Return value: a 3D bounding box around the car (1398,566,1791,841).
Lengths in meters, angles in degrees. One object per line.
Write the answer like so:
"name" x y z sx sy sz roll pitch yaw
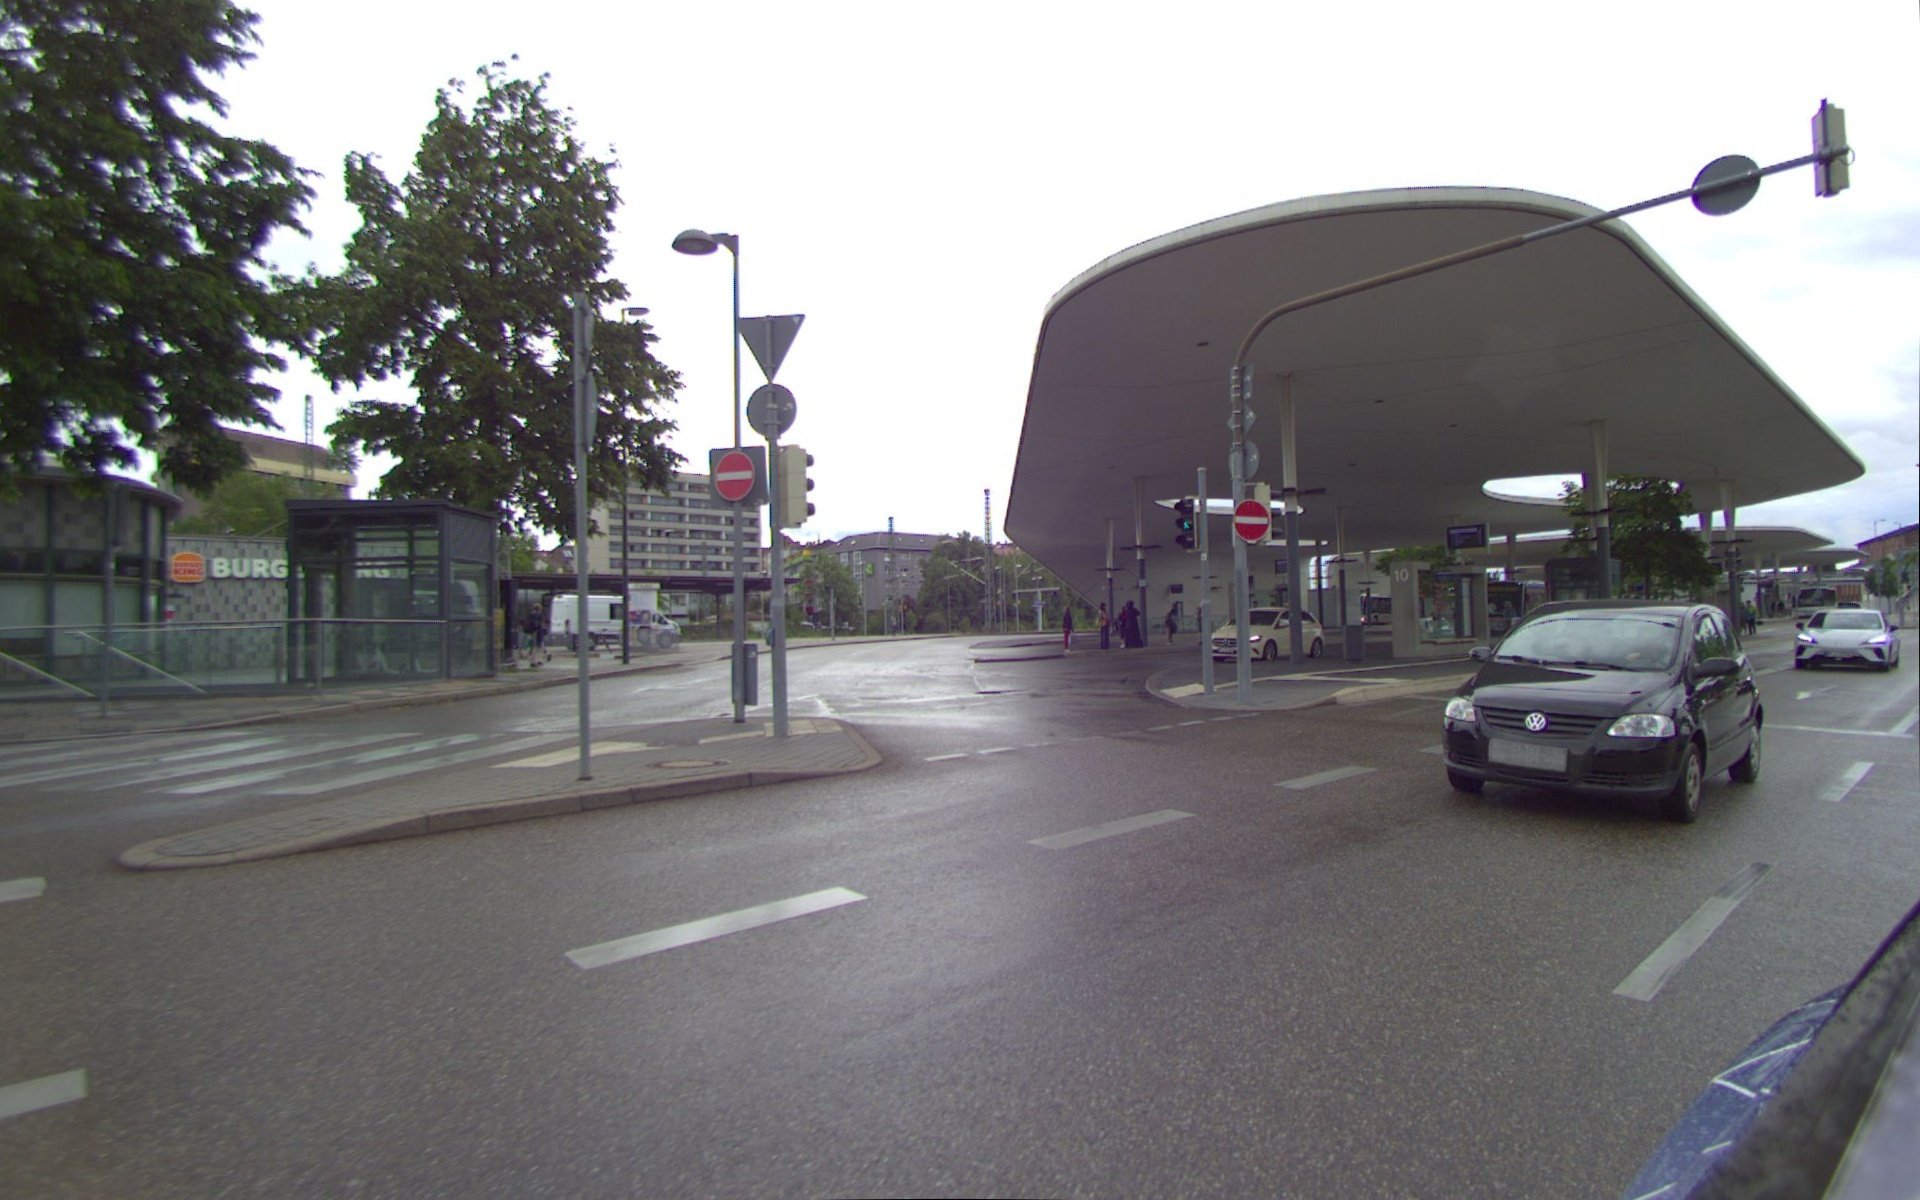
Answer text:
"car" 5.429 0.607 8.430 4.089 1.723 1.872 -1 1 -44

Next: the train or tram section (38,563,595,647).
"train or tram section" -37.648 0.115 62.727 28.814 4.234 4.596 -1 1 -43

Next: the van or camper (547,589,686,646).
"van or camper" -15.751 0.748 46.601 5.765 2.464 1.996 0 1 -43

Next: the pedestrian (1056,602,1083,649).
"pedestrian" 3.881 0.888 35.819 0.726 1.615 0.643 0 0 -28

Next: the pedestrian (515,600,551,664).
"pedestrian" -11.478 0.839 27.204 0.782 1.688 0.723 0 0 -32

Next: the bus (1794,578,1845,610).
"bus" 87.682 -0.581 103.373 3.566 3.137 10.605 0 0 38

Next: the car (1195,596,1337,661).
"car" 8.966 0.768 29.470 4.465 1.702 1.996 0 1 -43

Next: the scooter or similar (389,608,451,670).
"scooter or similar" -10.963 0.769 20.591 0.328 1.197 1.298 0 1 14

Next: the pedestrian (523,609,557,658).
"pedestrian" -13.590 1.079 32.721 0.629 1.549 0.835 0 0 18

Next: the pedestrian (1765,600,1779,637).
"pedestrian" 39.867 0.897 49.672 0.442 1.786 0.531 0 -1 30

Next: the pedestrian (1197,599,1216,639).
"pedestrian" 9.386 0.716 38.591 0.525 1.533 0.478 0 -1 -39

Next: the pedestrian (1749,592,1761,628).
"pedestrian" 39.501 0.502 50.307 0.443 1.786 0.529 -1 -1 41

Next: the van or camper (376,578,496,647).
"van or camper" -20.171 0.382 38.837 5.840 2.464 2.133 1 1 42

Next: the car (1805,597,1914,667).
"car" 22.752 0.742 25.552 3.983 1.578 1.807 0 1 -45

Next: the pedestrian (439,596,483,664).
"pedestrian" -12.702 0.751 25.761 0.782 1.688 0.723 0 0 -4

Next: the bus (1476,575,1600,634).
"bus" 33.676 0.159 58.640 11.720 3.121 2.872 -1 1 -43

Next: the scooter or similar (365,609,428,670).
"scooter or similar" -11.533 0.790 20.756 0.328 1.197 1.298 0 1 14

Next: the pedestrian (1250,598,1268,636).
"pedestrian" 12.189 0.690 41.272 0.525 1.533 0.478 0 -1 -39

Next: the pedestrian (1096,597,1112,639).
"pedestrian" 5.343 0.651 37.559 0.469 1.533 0.536 0 -1 -8

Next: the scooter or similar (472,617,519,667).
"scooter or similar" -11.677 1.041 25.456 0.328 1.197 1.298 0 1 14

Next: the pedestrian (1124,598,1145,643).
"pedestrian" 6.002 0.694 34.717 0.470 1.533 0.535 0 -1 -38
